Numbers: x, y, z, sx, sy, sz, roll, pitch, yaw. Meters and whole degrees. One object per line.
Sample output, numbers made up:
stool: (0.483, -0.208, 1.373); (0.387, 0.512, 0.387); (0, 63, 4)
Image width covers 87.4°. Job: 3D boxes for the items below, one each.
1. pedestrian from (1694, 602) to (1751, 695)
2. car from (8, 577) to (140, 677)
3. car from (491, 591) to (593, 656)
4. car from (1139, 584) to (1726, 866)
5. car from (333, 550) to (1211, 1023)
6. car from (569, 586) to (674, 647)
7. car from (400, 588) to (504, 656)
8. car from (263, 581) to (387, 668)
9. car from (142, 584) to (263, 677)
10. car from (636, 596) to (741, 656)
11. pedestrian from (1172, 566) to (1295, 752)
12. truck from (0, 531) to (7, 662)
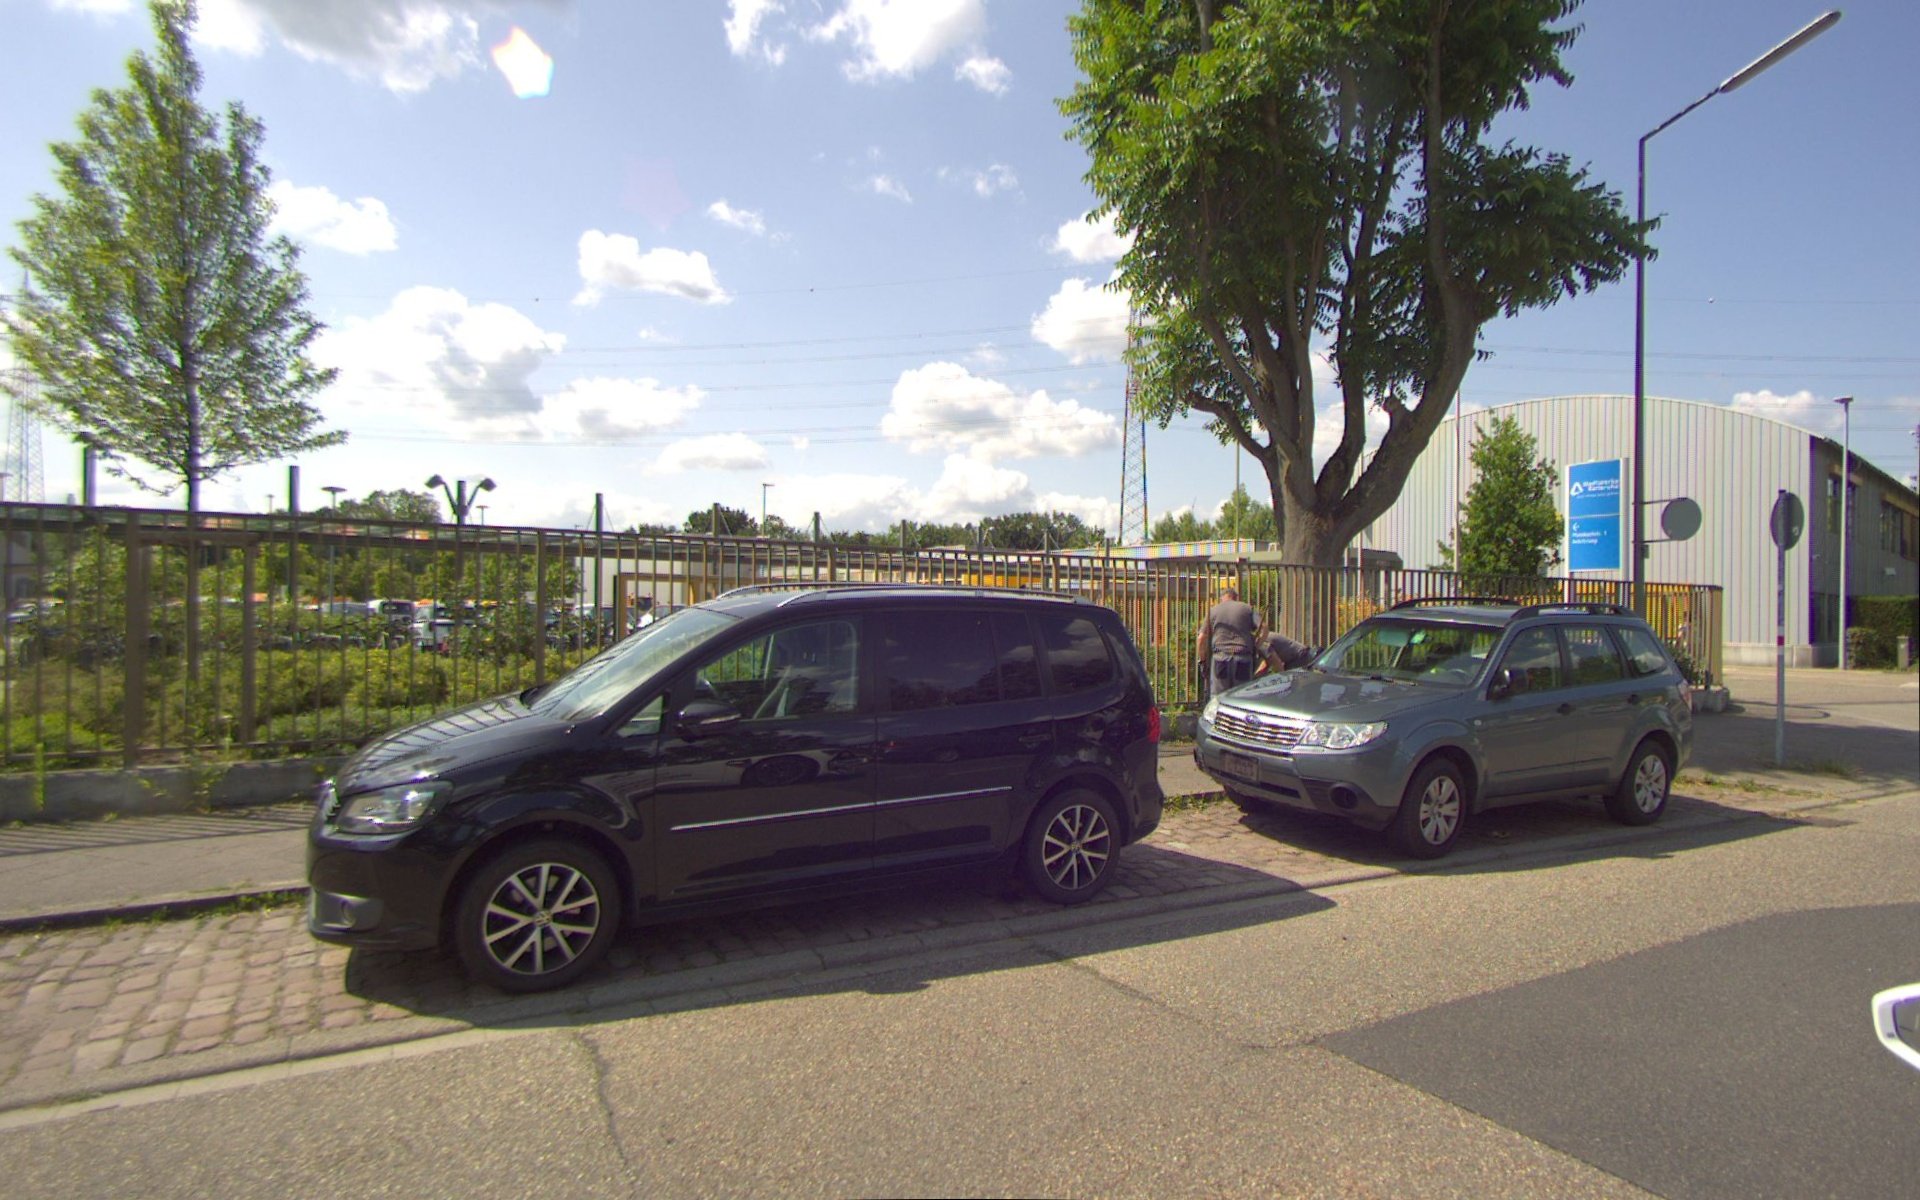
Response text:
pedestrian: (14.473, 0.916, 19.077); (0.723, 1.714, 0.546); (2, -1, -21)
car: (-16.953, 0.438, 19.325); (1.734, 1.711, 3.952); (1, 0, -40)
car: (-12.467, 0.643, 29.832); (1.733, 1.711, 3.954); (1, 1, -39)
car: (3.802, 0.769, 7.870); (4.633, 1.673, 1.791); (1, 1, -29)
car: (-0.844, 0.690, 5.414); (4.179, 1.705, 1.767); (1, 1, -30)
car: (-10.570, 0.481, 31.201); (1.734, 1.711, 3.952); (1, 1, -40)
car: (-14.329, 0.567, 28.236); (1.734, 1.711, 3.952); (1, 1, -40)
car: (-13.897, 0.527, 21.901); (1.734, 1.711, 3.952); (1, -1, -41)
car: (-15.487, 0.547, 20.464); (1.734, 1.711, 3.953); (1, 0, -40)
car: (-8.872, 0.790, 32.658); (1.745, 1.749, 4.025); (1, 1, -40)
pedestrian: (2.757, 0.569, 10.179); (0.833, 1.785, 0.826); (1, 1, -22)
truck: (-19.238, -0.081, 18.158); (2.385, 2.693, 6.855); (1, -1, -39)
